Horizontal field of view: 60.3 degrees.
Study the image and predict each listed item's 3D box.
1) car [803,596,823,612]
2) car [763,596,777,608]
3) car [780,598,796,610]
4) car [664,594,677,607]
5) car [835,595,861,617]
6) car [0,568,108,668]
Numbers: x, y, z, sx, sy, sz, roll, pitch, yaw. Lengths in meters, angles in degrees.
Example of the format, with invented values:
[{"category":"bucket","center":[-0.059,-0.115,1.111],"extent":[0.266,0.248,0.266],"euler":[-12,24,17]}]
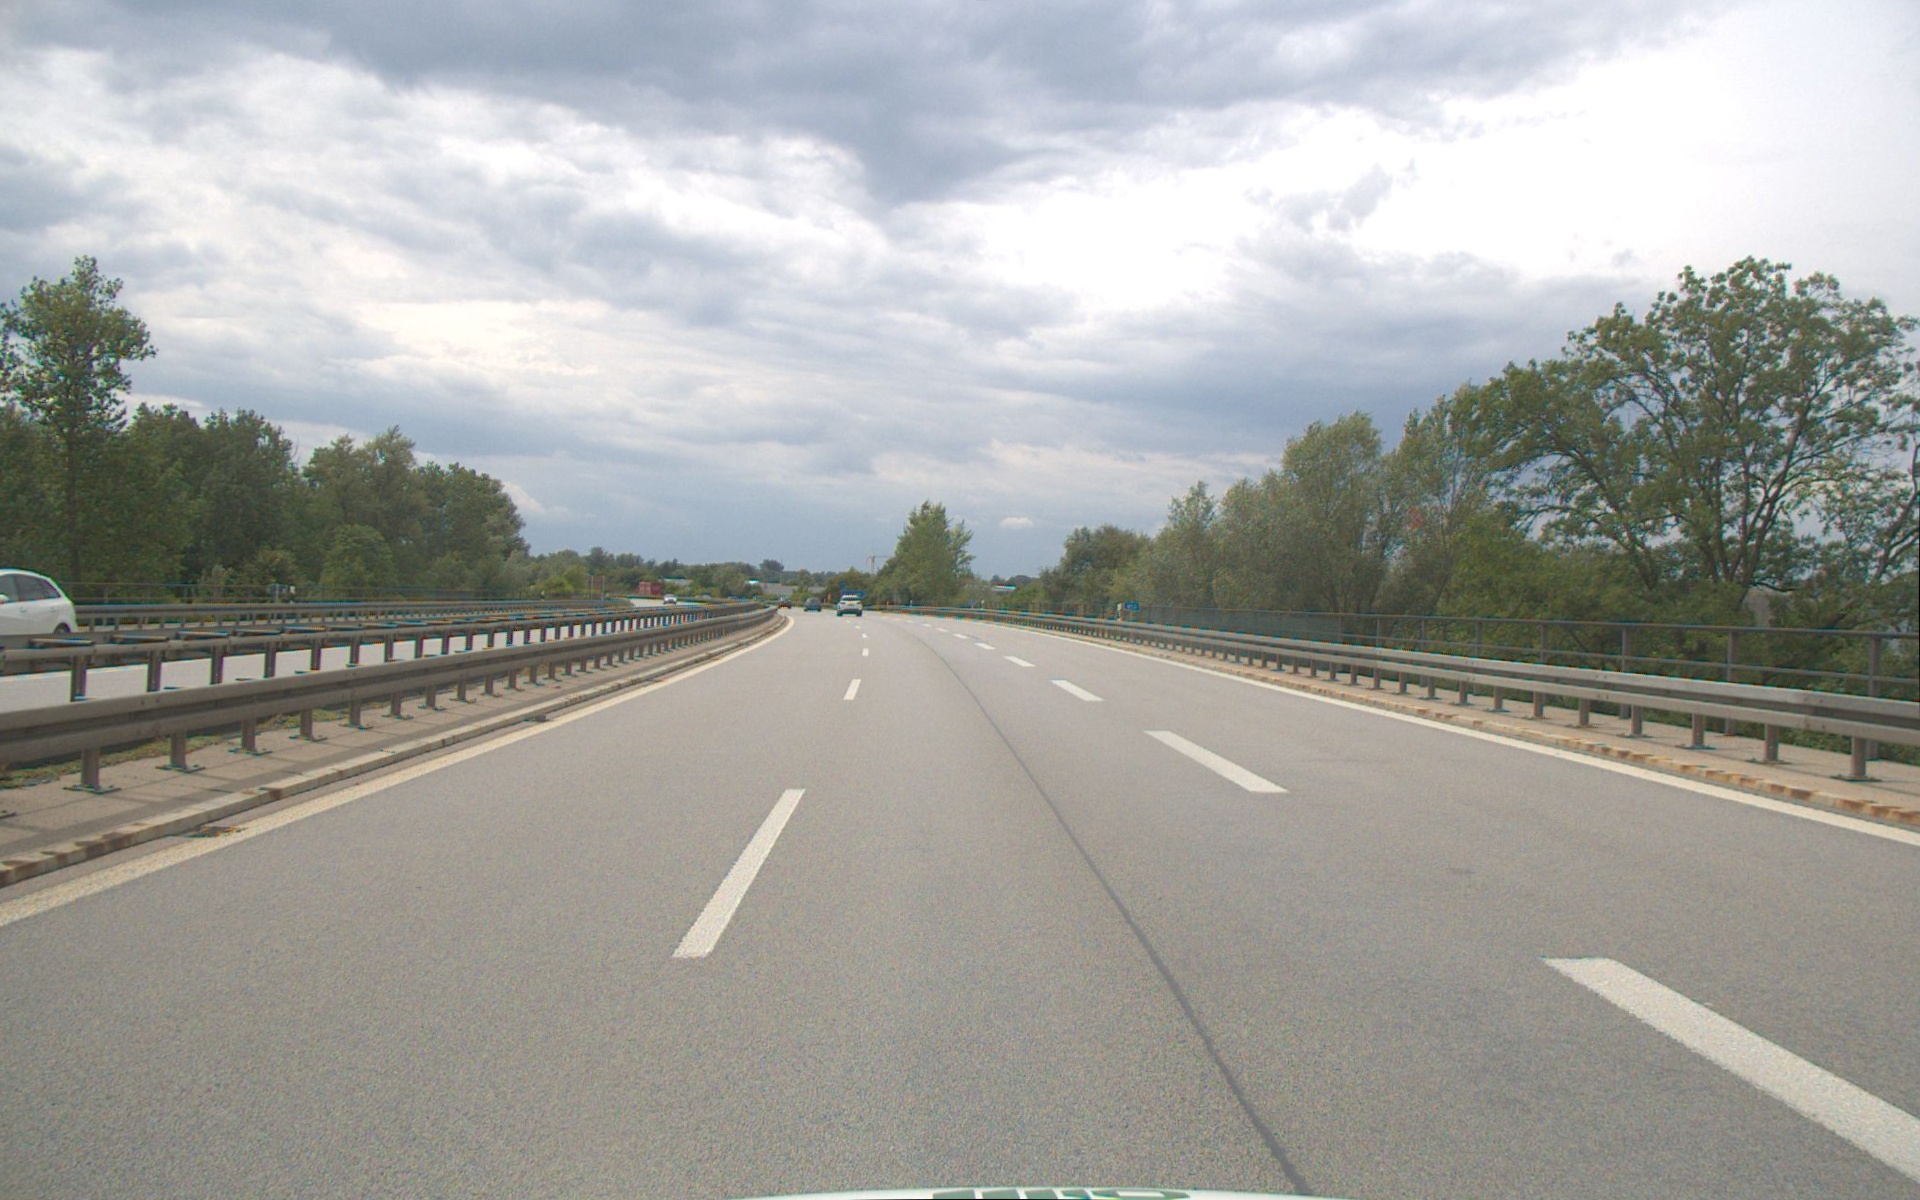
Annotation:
[{"category":"car","center":[-16.153,0.418,181.674],"extent":[1.857,1.668,4.613],"euler":[1,0,-8]},{"category":"car","center":[-29.843,0.308,259.731],"extent":[1.795,1.825,4.399],"euler":[1,0,-12]},{"category":"car","center":[-23.270,0.527,223.751],"extent":[1.867,1.668,4.770],"euler":[1,0,-9]},{"category":"car","center":[-43.266,0.084,247.523],"extent":[1.612,1.745,4.972],"euler":[2,0,-8]},{"category":"car","center":[-9.069,0.455,133.687],"extent":[1.866,1.668,4.389],"euler":[1,0,-7]},{"category":"car","center":[-14.458,0.237,24.524],"extent":[1.500,1.431,4.327],"euler":[1,0,-2]}]
